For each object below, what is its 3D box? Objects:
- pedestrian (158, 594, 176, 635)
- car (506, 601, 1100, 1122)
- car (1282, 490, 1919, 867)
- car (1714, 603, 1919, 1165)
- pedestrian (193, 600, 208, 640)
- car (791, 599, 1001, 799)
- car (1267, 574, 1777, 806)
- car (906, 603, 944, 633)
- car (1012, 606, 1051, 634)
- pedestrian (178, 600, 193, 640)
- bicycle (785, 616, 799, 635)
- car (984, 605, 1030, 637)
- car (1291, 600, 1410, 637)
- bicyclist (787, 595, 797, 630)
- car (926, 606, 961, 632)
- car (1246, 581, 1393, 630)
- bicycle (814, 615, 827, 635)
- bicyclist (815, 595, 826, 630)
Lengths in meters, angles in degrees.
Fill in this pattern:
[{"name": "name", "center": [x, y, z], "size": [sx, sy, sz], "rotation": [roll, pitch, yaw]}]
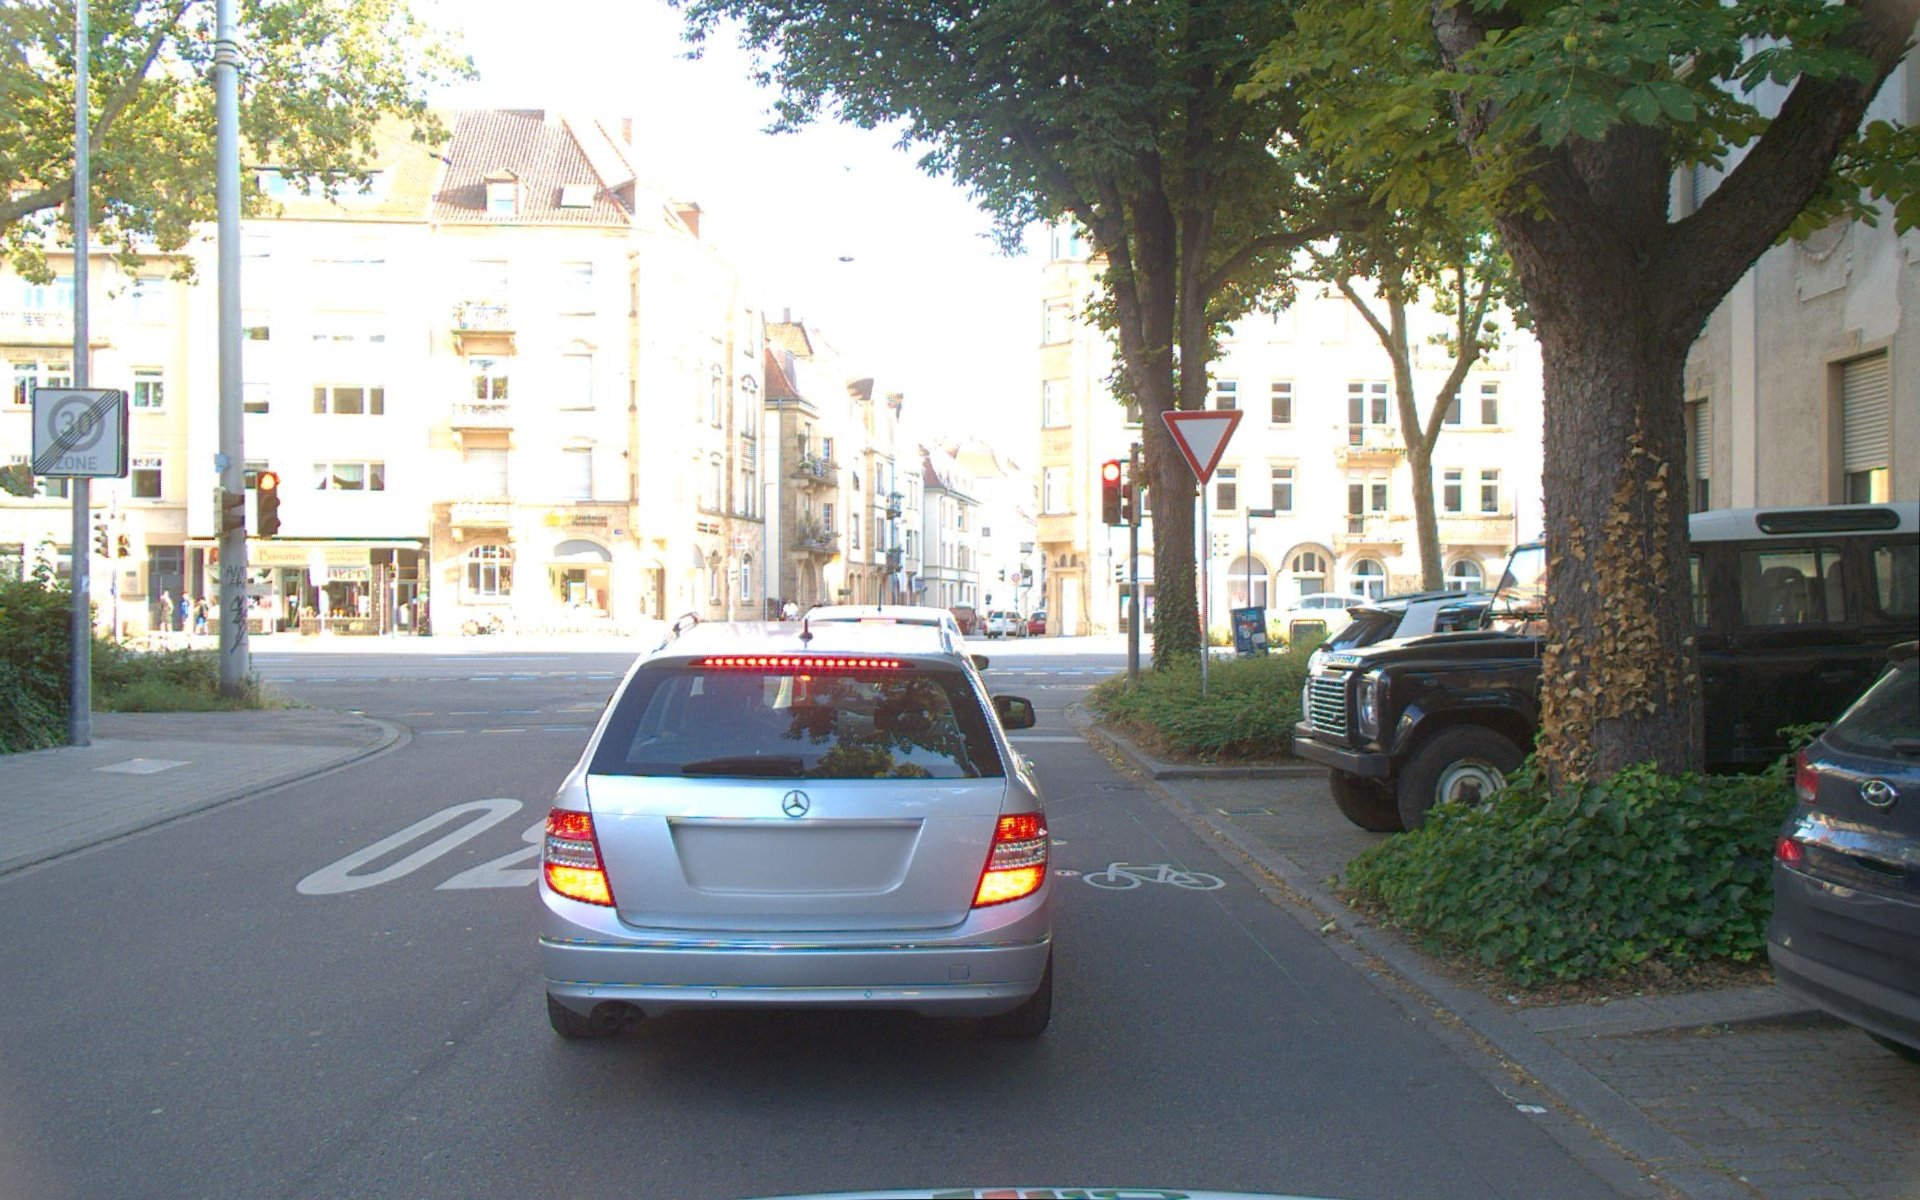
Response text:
[{"name": "pedestrian", "center": [-29.965, 0.531, 62.492], "size": [0.557, 1.537, 0.499], "rotation": [0, 0, -20]}, {"name": "car", "center": [-0.535, 0.751, 6.445], "size": [1.657, 1.454, 3.490], "rotation": [1, 0, -3]}, {"name": "car", "center": [4.419, 0.409, 10.239], "size": [4.402, 1.990, 1.791], "rotation": [-2, 0, -4]}, {"name": "car", "center": [4.294, 0.682, 4.557], "size": [3.675, 1.446, 1.627], "rotation": [-2, -1, -4]}, {"name": "pedestrian", "center": [-29.074, 0.773, 63.328], "size": [0.466, 1.537, 0.428], "rotation": [0, 0, -21]}, {"name": "car", "center": [-0.528, 0.712, 13.716], "size": [1.502, 1.415, 3.597], "rotation": [0, 0, -2]}, {"name": "car", "center": [4.360, 0.653, 13.115], "size": [3.415, 1.614, 1.708], "rotation": [-1, 0, -7]}, {"name": "car", "center": [-2.120, 1.111, 102.380], "size": [1.615, 1.814, 3.866], "rotation": [0, -1, 10]}, {"name": "car", "center": [4.439, 1.202, 102.152], "size": [1.684, 1.503, 4.004], "rotation": [-4, 0, 11]}, {"name": "pedestrian", "center": [-29.984, 0.752, 64.048], "size": [0.502, 1.537, 0.532], "rotation": [0, 0, -28]}, {"name": "bicycle", "center": [-7.437, 1.122, 73.110], "size": [0.557, 0.849, 1.564], "rotation": [0, 0, -4]}, {"name": "car", "center": [2.482, 1.068, 85.914], "size": [1.684, 1.504, 4.004], "rotation": [-2, 0, 11]}, {"name": "car", "center": [11.848, 0.559, 50.251], "size": [3.296, 1.087, 1.380], "rotation": [0, 0, -2]}, {"name": "bicyclist", "center": [-7.440, 0.542, 73.248], "size": [0.457, 1.541, 0.655], "rotation": [0, 0, -4]}, {"name": "car", "center": [-1.060, 1.257, 108.683], "size": [1.615, 1.632, 3.866], "rotation": [0, -1, 10]}, {"name": "car", "center": [11.268, 0.160, 52.020], "size": [4.199, 1.487, 1.786], "rotation": [0, 1, -2]}, {"name": "bicycle", "center": [-6.172, 1.110, 73.401], "size": [0.557, 0.849, 1.564], "rotation": [0, 0, -4]}, {"name": "bicyclist", "center": [-6.203, 0.536, 73.445], "size": [0.457, 1.547, 0.693], "rotation": [0, 0, -4]}]
